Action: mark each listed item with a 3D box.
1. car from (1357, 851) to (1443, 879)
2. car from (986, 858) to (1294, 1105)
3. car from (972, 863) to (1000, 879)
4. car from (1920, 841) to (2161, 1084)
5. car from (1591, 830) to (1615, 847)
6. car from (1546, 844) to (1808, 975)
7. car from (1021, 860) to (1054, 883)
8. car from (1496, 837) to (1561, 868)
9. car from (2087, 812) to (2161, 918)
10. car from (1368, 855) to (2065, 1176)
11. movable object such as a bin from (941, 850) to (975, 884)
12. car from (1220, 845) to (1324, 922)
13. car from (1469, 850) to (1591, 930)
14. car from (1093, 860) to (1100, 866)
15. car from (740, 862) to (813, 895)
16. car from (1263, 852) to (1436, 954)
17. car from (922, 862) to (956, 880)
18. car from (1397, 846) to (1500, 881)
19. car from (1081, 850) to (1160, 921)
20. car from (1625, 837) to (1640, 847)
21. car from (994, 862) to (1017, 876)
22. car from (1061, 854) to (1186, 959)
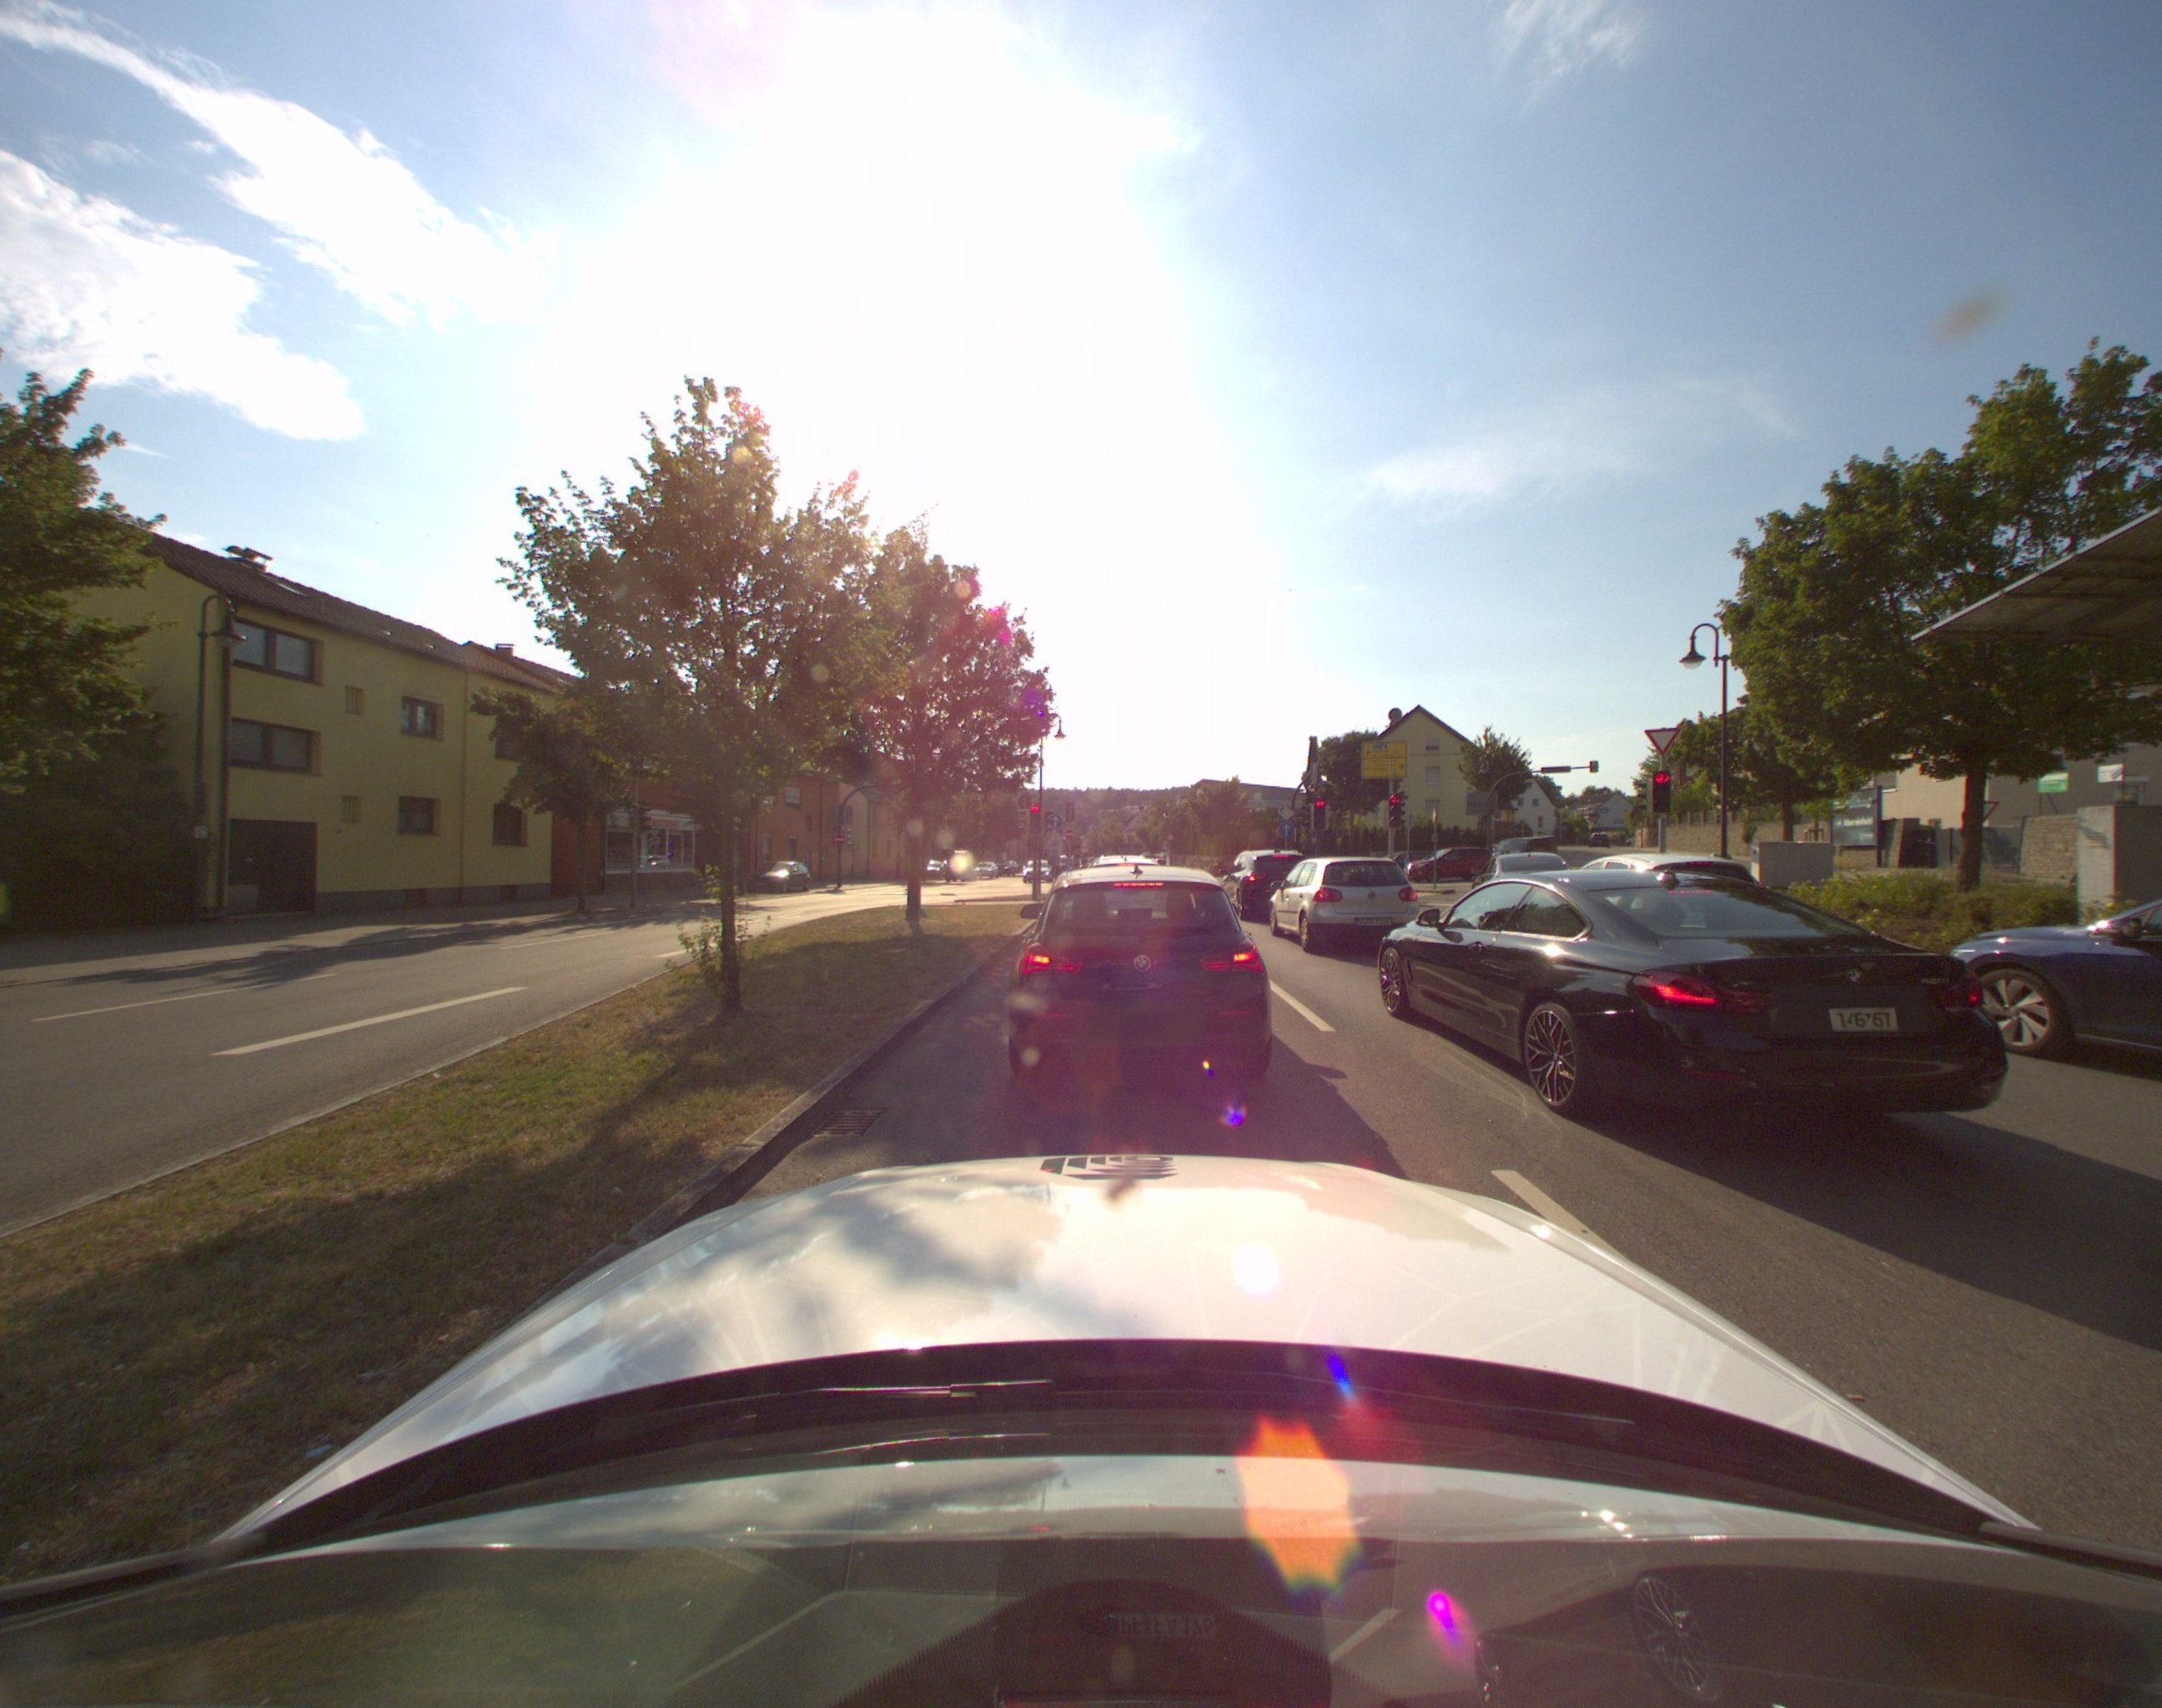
[{"bbox_3d":[17.347,0.572,44.366,3.974,1.489,1.848,0,0,-1],"label":"car"},{"bbox_3d":[0.443,0.771,6.974,1.781,1.397,4.283,-2,0,2],"label":"car"},{"bbox_3d":[-8.628,1.517,74.512,1.729,1.301,3.804,4,0,5],"label":"car"},{"bbox_3d":[7.408,0.651,4.251,1.754,1.453,4.323,-2,0,4],"label":"car"},{"bbox_3d":[55.373,-1.648,86.461,1.946,1.680,4.241,-2,0,31],"label":"car"},{"bbox_3d":[8.112,0.671,11.471,1.608,1.542,3.326,-2,0,9],"label":"car"},{"bbox_3d":[-2.951,1.152,55.744,1.832,1.482,4.002,-1,0,2],"label":"car"},{"bbox_3d":[25.920,-0.080,47.121,4.810,1.739,1.826,0,0,-42],"label":"car"},{"bbox_3d":[18.495,0.160,12.392,3.793,1.632,1.784,0,0,10],"label":"car"},{"bbox_3d":[3.621,0.738,5.829,1.755,1.397,4.283,-2,0,2],"label":"car"},{"bbox_3d":[-9.320,0.969,62.019,1.729,2.442,4.452,-1,0,3],"label":"movable object such as a bin"},{"bbox_3d":[4.570,0.649,20.052,1.755,1.656,3.905,-2,0,2],"label":"car"},{"bbox_3d":[9.883,0.714,18.245,1.642,1.542,4.420,-2,0,19],"label":"car"},{"bbox_3d":[4.208,2.476,220.958,1.729,1.301,3.804,4,0,5],"label":"car"},{"bbox_3d":[-14.138,1.109,38.039,1.730,1.301,4.002,4,0,2],"label":"car"},{"bbox_3d":[4.322,0.715,13.770,1.755,1.426,3.905,-2,0,2],"label":"car"},{"bbox_3d":[-11.743,1.421,67.601,1.728,1.301,4.006,4,0,6],"label":"car"},{"bbox_3d":[18.350,0.459,40.744,4.410,1.641,1.845,0,0,-6],"label":"car"},{"bbox_3d":[1.021,0.739,21.157,1.781,1.594,4.283,-2,0,2],"label":"car"},{"bbox_3d":[97.842,-2.133,144.501,1.946,1.680,4.242,-2,0,32],"label":"car"},{"bbox_3d":[-7.933,1.592,85.924,1.729,1.301,3.804,4,0,5],"label":"car"},{"bbox_3d":[0.720,0.778,14.118,1.781,1.494,4.283,-2,0,2],"label":"car"}]
